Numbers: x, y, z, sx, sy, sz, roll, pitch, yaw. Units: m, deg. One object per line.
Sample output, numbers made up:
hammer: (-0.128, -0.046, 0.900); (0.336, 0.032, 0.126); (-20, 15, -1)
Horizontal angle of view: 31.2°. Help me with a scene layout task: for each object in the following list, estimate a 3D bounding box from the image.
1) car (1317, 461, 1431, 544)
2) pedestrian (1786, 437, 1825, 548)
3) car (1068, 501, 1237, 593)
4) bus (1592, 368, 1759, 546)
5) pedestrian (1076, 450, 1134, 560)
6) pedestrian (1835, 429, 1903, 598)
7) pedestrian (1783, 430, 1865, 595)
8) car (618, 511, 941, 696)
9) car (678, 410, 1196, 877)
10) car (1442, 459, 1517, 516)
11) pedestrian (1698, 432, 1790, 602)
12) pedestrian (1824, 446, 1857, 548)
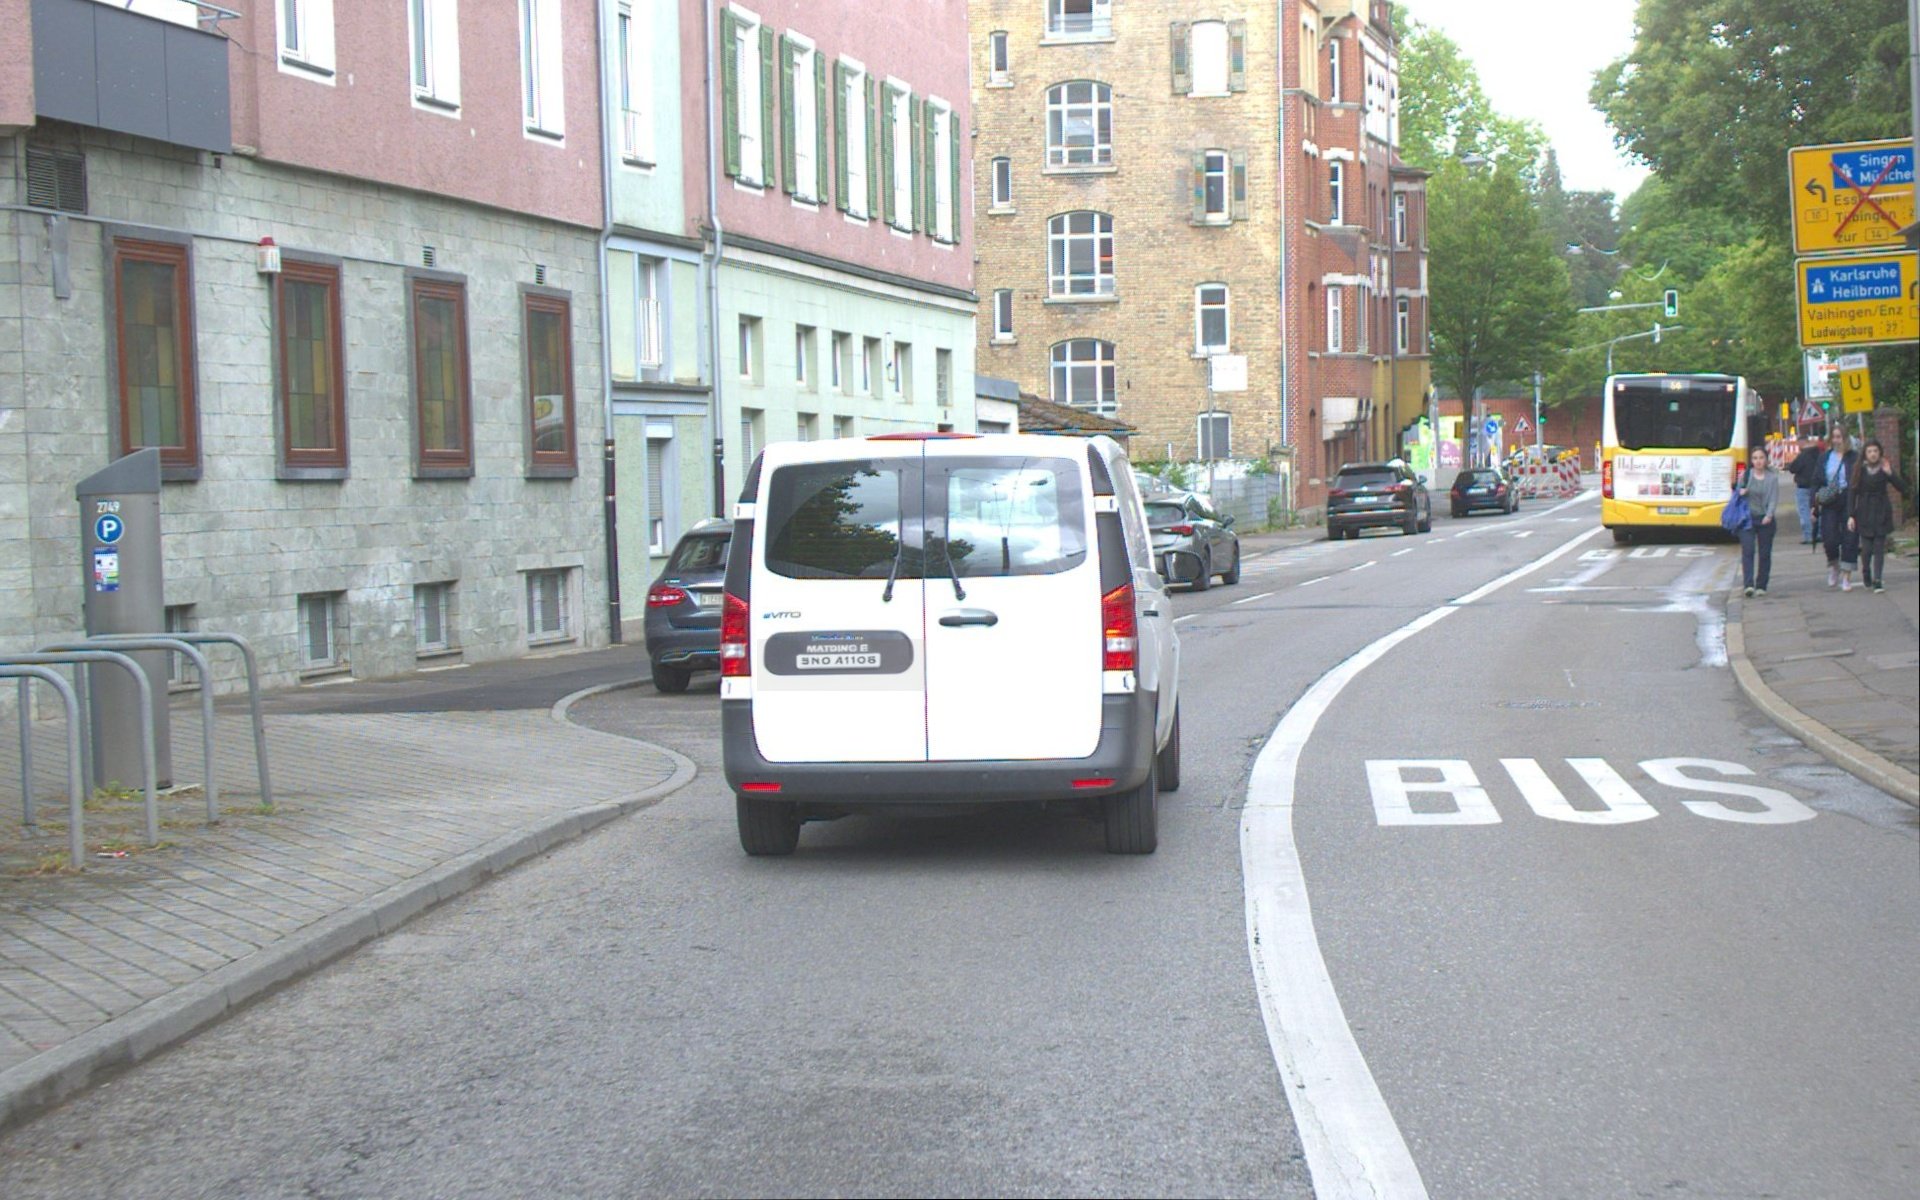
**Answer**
car: (9.360, -2.214, 77.448); (1.955, 1.727, 4.771); (-1, 3, 14)
pedestrian: (13.660, -1.742, 55.556); (0.582, 1.772, 0.821); (1, 2, 13)
car: (2.898, -0.780, 50.930); (1.994, 1.285, 3.998); (1, 1, 10)
bus: (13.716, -2.736, 65.405); (2.664, 3.125, 10.034); (1, 3, 14)
pedestrian: (2.324, -1.523, 54.996); (0.761, 1.738, 0.984); (1, 1, 11)
pedestrian: (9.693, -0.927, 36.656); (0.543, 1.750, 0.608); (-3, 3, 21)
pedestrian: (9.489, -0.972, 37.775); (0.687, 1.750, 0.878); (-4, 3, 8)
car: (-1.476, -0.026, 30.012); (1.829, 1.450, 4.583); (-1, 1, 10)
car: (0.056, 0.150, 16.643); (1.918, 1.895, 4.700); (1, 1, 6)
car: (15.635, -3.394, 103.265); (1.726, 1.480, 4.388); (0, 4, 15)
pedestrian: (8.639, -0.924, 37.898); (0.803, 1.787, 0.942); (-4, 3, 8)
pedestrian: (15.596, -1.822, 60.909); (0.450, 1.772, 0.671); (-4, 1, 14)
